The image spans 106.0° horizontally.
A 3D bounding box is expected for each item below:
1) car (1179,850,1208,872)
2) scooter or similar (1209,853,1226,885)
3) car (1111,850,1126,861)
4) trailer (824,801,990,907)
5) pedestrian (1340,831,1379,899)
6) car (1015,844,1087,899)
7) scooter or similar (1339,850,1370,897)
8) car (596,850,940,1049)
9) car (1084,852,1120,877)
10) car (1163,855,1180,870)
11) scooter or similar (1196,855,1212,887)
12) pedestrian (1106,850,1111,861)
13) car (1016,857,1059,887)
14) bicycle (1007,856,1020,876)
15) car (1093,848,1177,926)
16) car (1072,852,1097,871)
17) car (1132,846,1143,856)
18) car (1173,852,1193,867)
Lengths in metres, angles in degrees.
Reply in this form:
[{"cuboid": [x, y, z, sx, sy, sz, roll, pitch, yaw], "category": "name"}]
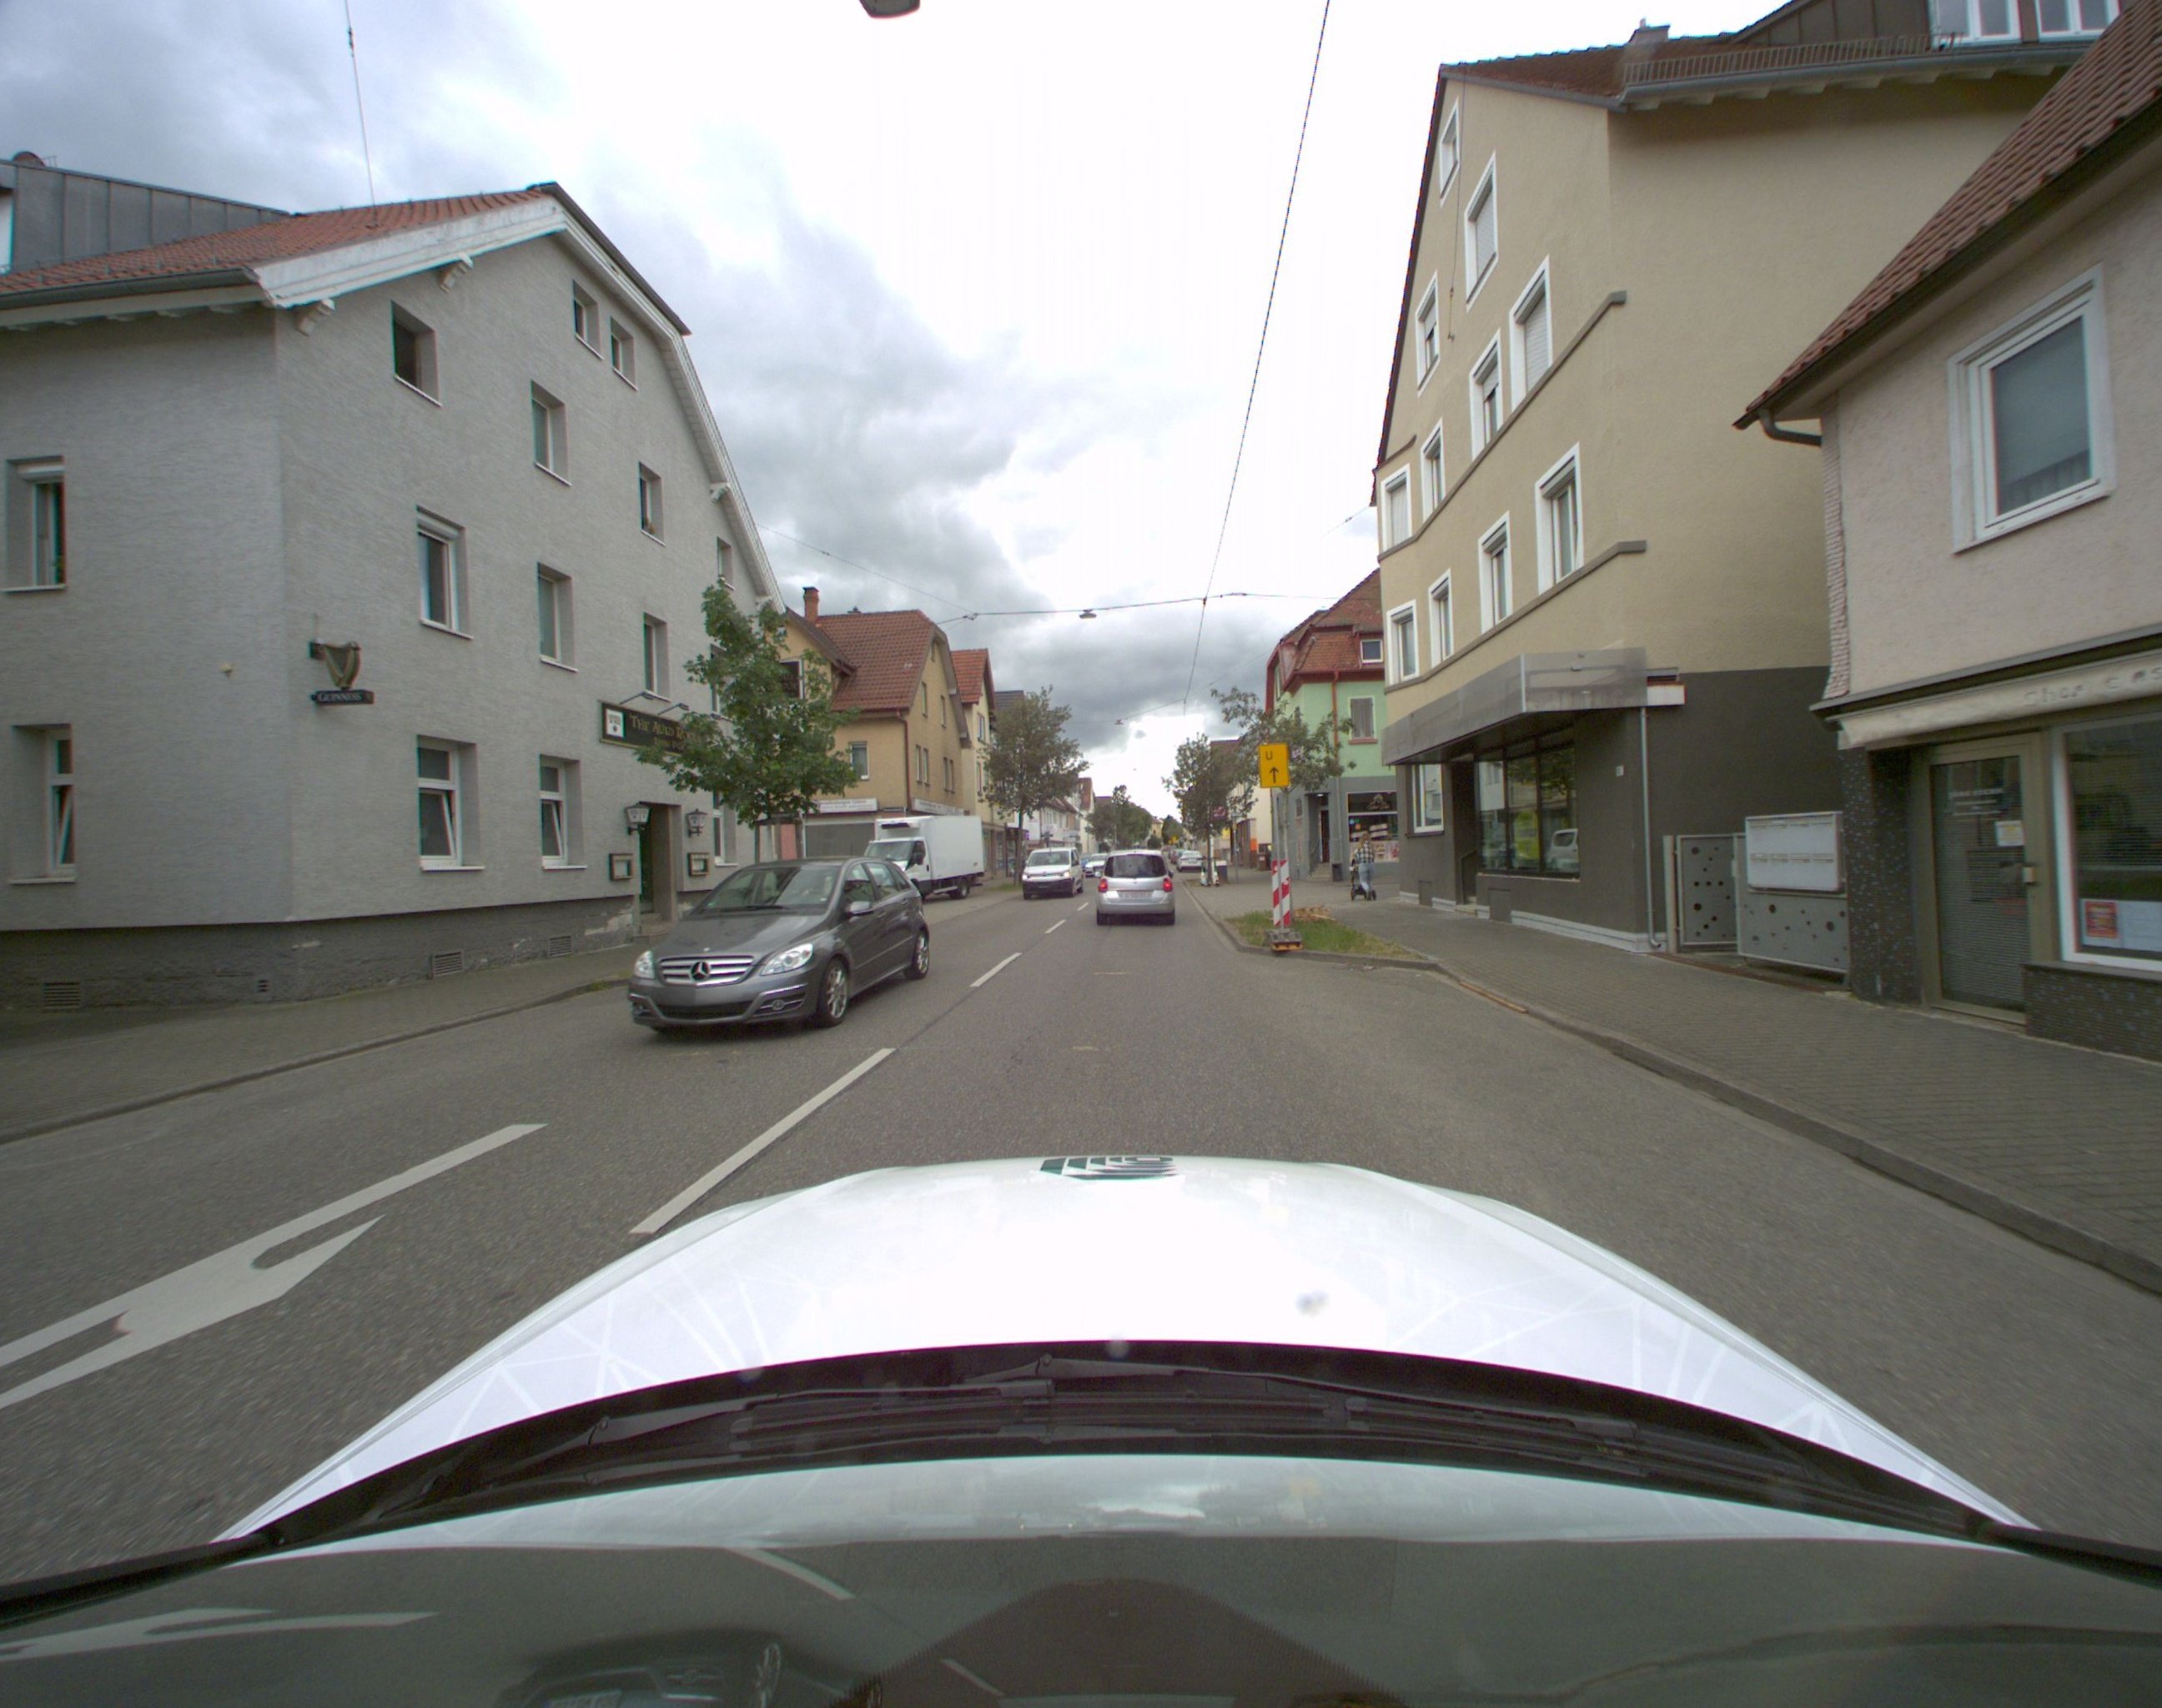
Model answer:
[{"cuboid": [7.657, 0.435, 55.715, 1.822, 1.445, 4.339, -1, 0, 6], "category": "car"}, {"cuboid": [5.500, 0.601, 32.830, 0.499, 1.235, 1.945, -1, 0, 5], "category": "scooter or similar"}, {"cuboid": [5.885, 0.190, 126.581, 1.938, 1.467, 4.524, -4, 0, 6], "category": "car"}, {"cuboid": [-5.808, -0.008, 28.654, 2.483, 3.219, 7.167, -1, 0, 17], "category": "trailer"}, {"cuboid": [7.240, 0.280, 21.173, 0.746, 1.720, 0.901, -1, 0, 5], "category": "pedestrian"}, {"cuboid": [-1.016, 0.590, 29.968, 1.984, 1.796, 4.283, -3, 0, 5], "category": "car"}, {"cuboid": [7.416, 0.510, 22.086, 0.587, 1.232, 0.892, -1, 0, 5], "category": "scooter or similar"}, {"cuboid": [-2.987, 0.797, 8.847, 1.772, 1.552, 4.080, -4, 0, 5], "category": "car"}, {"cuboid": [1.355, 0.625, 51.615, 1.833, 1.433, 4.551, -3, 0, 6], "category": "car"}, {"cuboid": [9.516, 0.859, 85.548, 1.746, 1.445, 4.462, -1, 0, 6], "category": "car"}, {"cuboid": [4.970, 0.662, 32.862, 0.499, 1.235, 1.945, -1, 0, 5], "category": "scooter or similar"}, {"cuboid": [4.539, 0.198, 133.421, 0.759, 1.791, 0.891, -1, 0, 5], "category": "pedestrian"}, {"cuboid": [-2.239, 0.914, 43.216, 1.674, 1.424, 3.936, -4, 0, 5], "category": "car"}, {"cuboid": [-4.327, 0.779, 52.550, 0.499, 1.235, 1.945, -1, 0, 5], "category": "bicycle"}, {"cuboid": [1.307, 0.660, 18.497, 1.674, 1.566, 4.000, -1, 0, 6], "category": "car"}, {"cuboid": [0.340, 0.592, 69.723, 1.674, 1.499, 3.782, -4, 0, 6], "category": "car"}, {"cuboid": [11.527, -0.614, 165.406, 1.891, 1.737, 4.373, -4, 0, 6], "category": "car"}, {"cuboid": [10.133, 0.529, 81.028, 1.822, 1.497, 4.000, -1, 0, 6], "category": "car"}]
